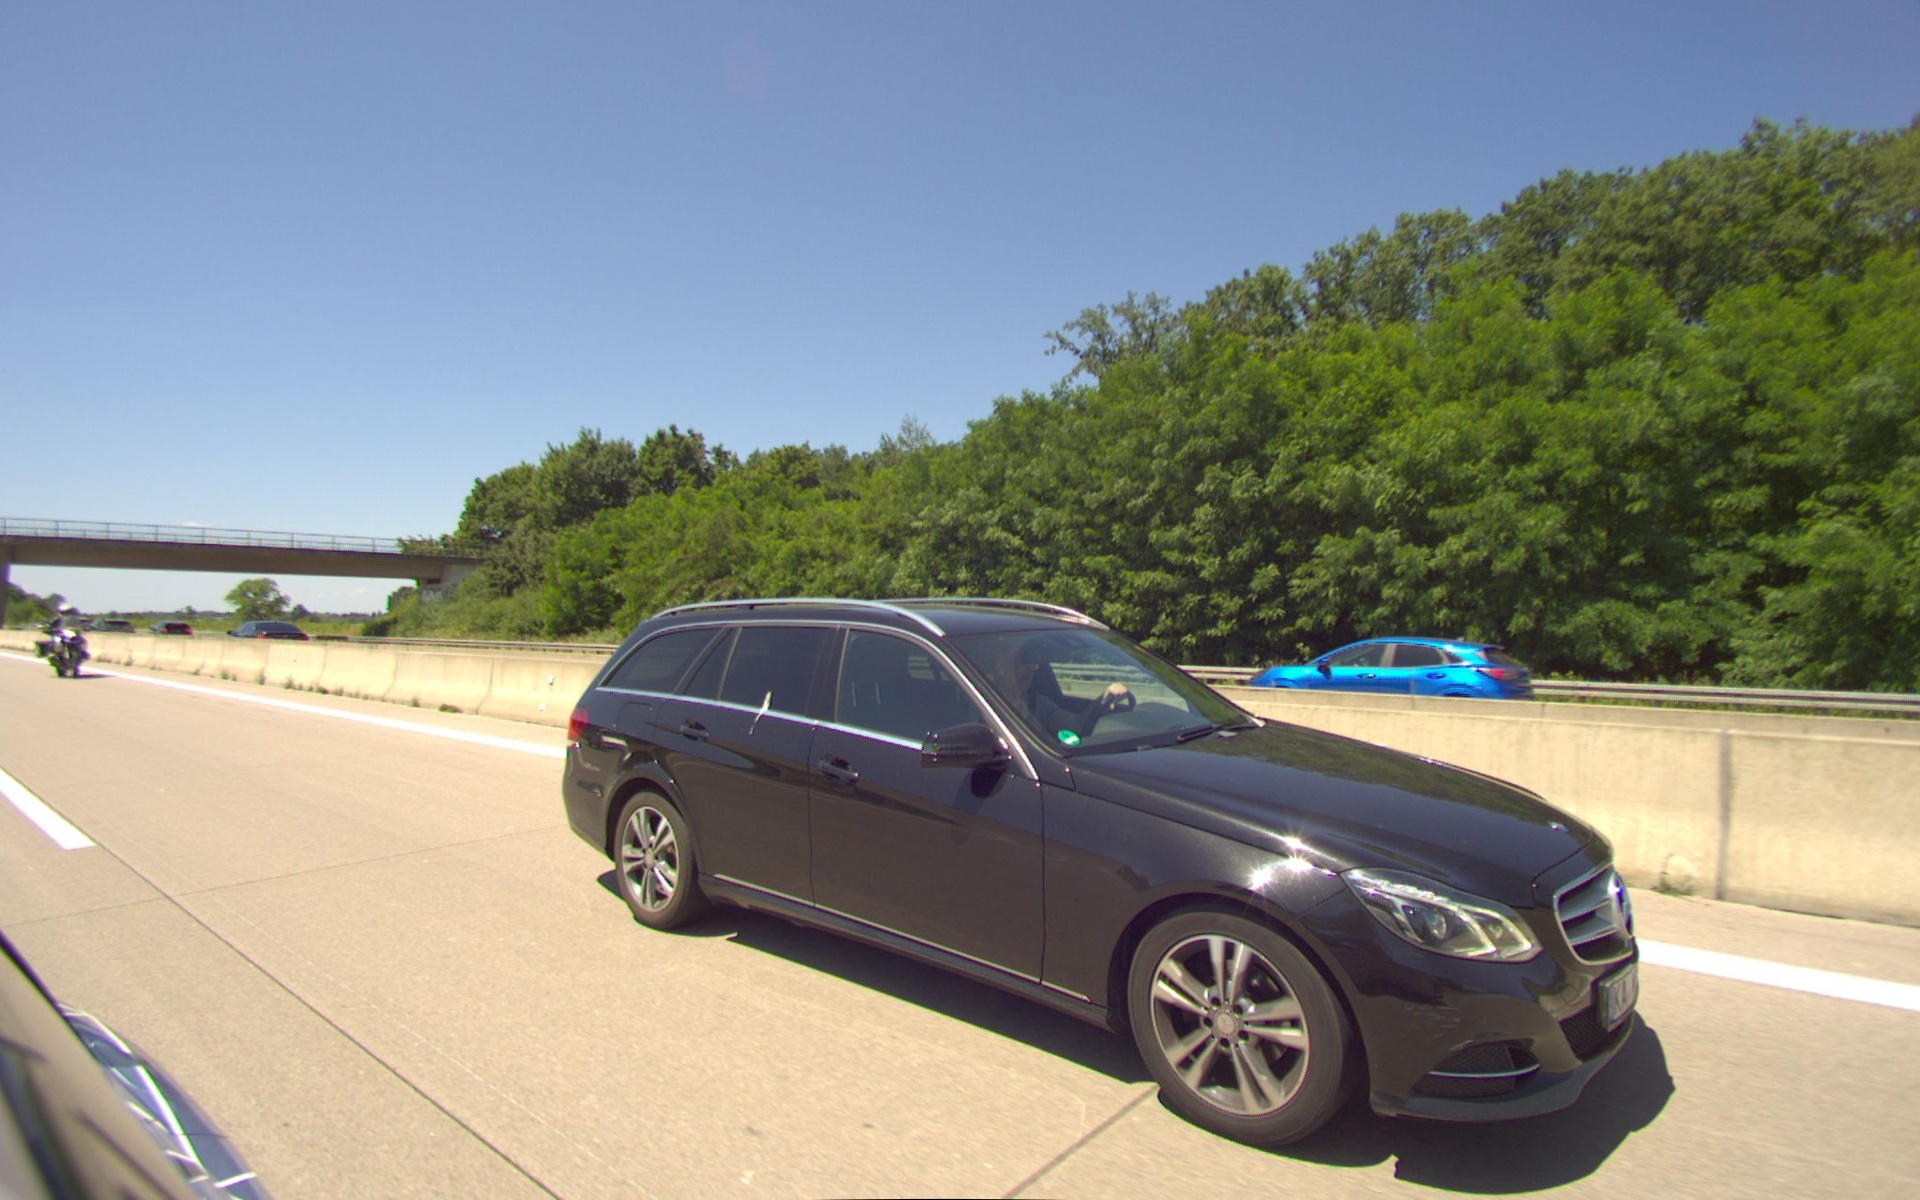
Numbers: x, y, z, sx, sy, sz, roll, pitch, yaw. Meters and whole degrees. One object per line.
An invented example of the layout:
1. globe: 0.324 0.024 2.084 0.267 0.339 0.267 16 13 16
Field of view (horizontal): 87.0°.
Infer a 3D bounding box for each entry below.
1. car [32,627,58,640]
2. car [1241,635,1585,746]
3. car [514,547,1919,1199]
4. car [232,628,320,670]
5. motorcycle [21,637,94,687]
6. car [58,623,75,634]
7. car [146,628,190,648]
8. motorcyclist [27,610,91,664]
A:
1. car: -94.423 3.451 104.456 3.630 1.329 1.549 -1 -2 41
2. car: 6.757 1.265 15.411 4.504 1.395 1.692 -1 -1 40
3. car: 0.355 0.717 4.234 5.600 1.484 1.871 -2 -2 41
4. car: -24.778 1.733 36.620 4.013 1.427 1.681 -1 -1 41
5. motorcycle: -21.142 1.425 23.701 2.412 1.056 1.010 -2 -1 42
6. car: -128.979 4.075 146.059 3.101 1.595 1.383 -1 -2 42
7. car: -52.390 2.488 66.905 3.629 1.329 1.549 -1 -2 40
8. motorcyclist: -21.135 0.863 23.742 0.911 1.218 1.014 -2 -2 42
